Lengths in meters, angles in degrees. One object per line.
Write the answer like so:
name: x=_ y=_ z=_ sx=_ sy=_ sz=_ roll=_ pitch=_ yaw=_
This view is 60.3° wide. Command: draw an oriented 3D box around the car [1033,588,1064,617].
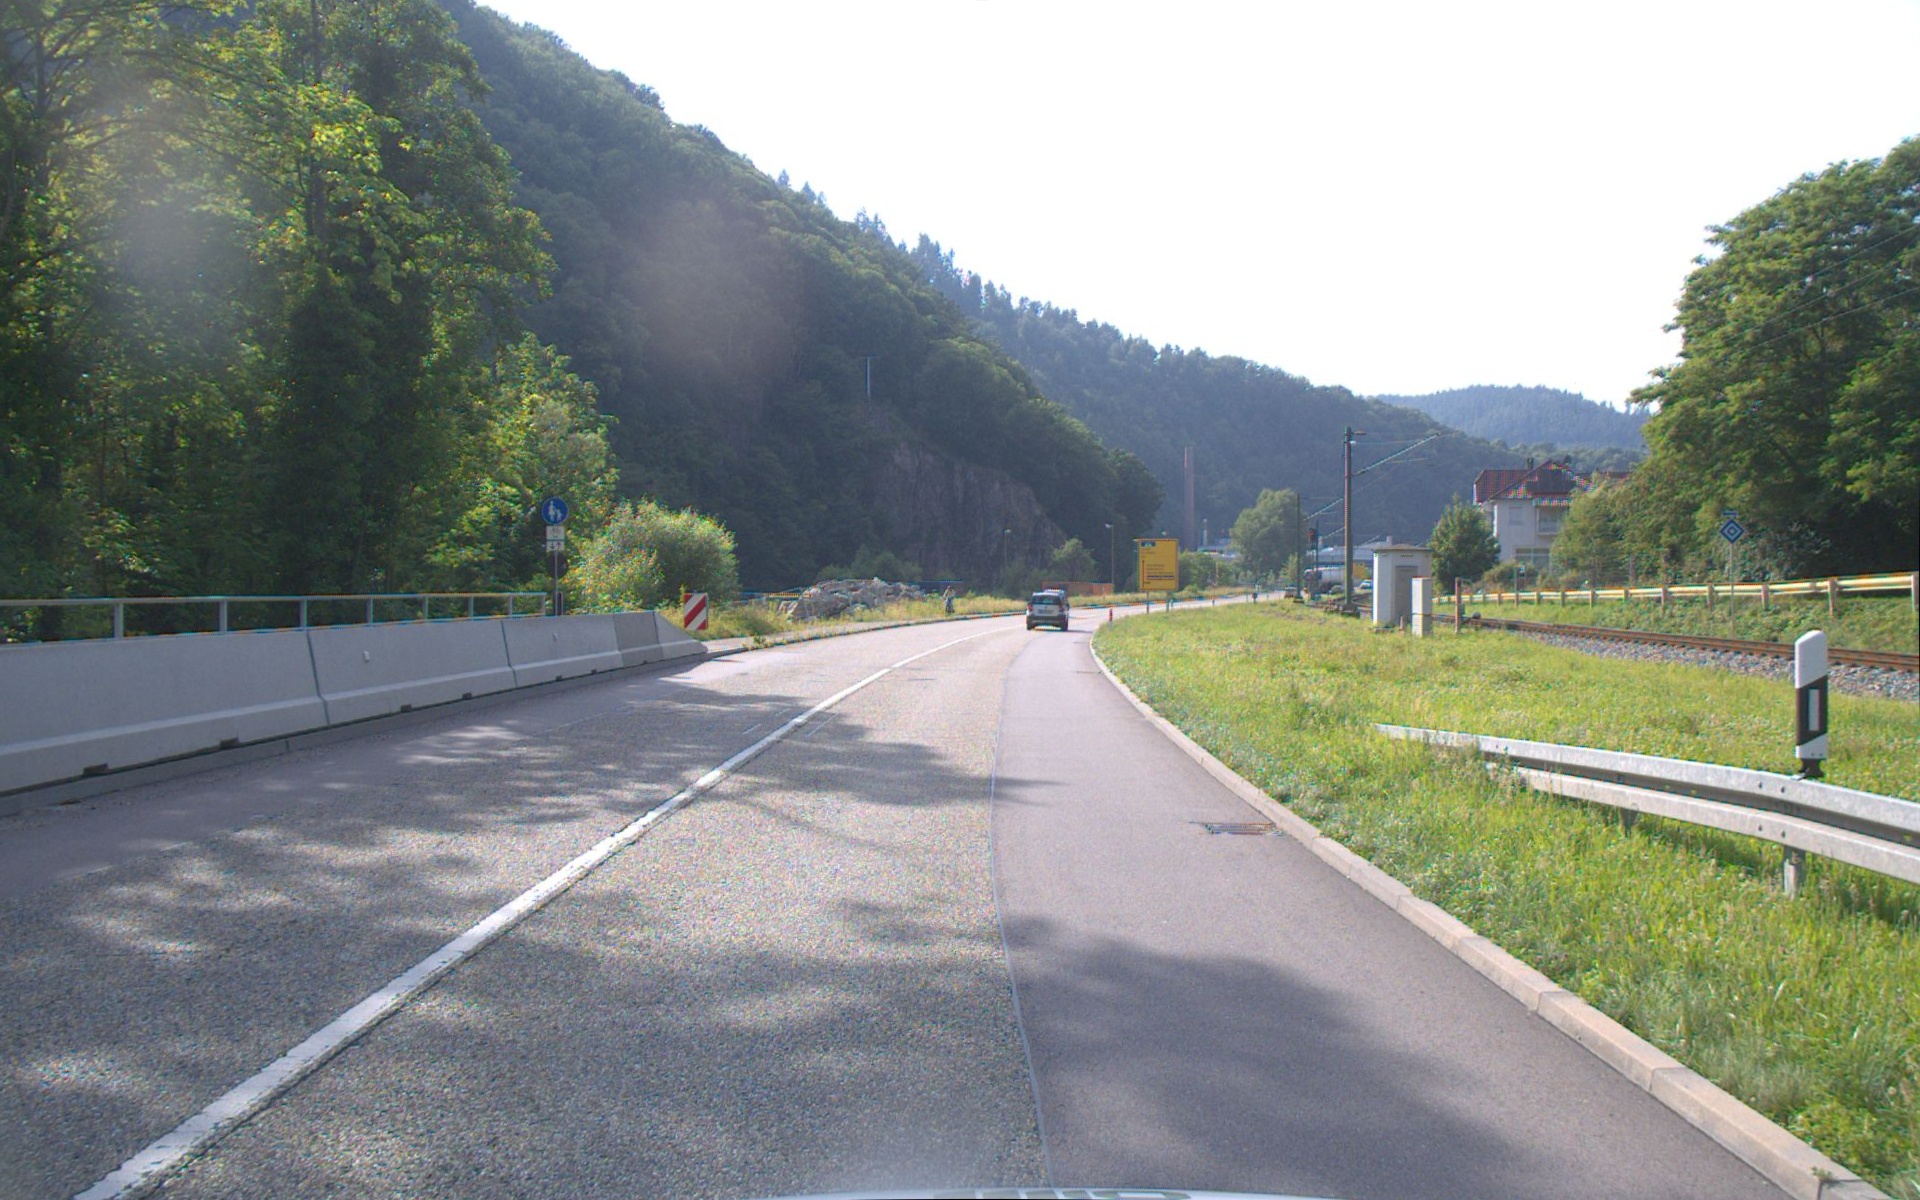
car: x=5.959 y=0.168 z=111.383 sx=1.812 sy=1.816 sz=4.687 roll=2 pitch=0 yaw=6

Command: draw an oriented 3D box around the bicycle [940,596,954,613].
bicycle: x=-0.706 y=0.259 z=91.939 sx=0.528 sy=0.897 sz=2.254 roll=2 pitch=0 yaw=5

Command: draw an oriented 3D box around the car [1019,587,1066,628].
car: x=3.733 y=0.317 z=74.353 sx=1.951 sy=1.753 sz=3.992 roll=-2 pitch=0 yaw=4

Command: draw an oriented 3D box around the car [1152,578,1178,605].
car: x=16.306 y=-0.645 z=131.743 sx=1.951 sy=2.049 sz=4.003 roll=-2 pitch=0 yaw=6

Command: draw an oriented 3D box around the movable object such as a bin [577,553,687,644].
movable object such as a bin: x=-15.632 y=-0.077 z=79.651 sx=2.643 sy=4.016 sz=9.994 roll=-2 pitch=0 yaw=3

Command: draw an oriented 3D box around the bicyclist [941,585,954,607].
bicyclist: x=-0.696 y=-0.219 z=91.940 sx=0.669 sy=1.246 sz=0.858 roll=1 pitch=0 yaw=5
